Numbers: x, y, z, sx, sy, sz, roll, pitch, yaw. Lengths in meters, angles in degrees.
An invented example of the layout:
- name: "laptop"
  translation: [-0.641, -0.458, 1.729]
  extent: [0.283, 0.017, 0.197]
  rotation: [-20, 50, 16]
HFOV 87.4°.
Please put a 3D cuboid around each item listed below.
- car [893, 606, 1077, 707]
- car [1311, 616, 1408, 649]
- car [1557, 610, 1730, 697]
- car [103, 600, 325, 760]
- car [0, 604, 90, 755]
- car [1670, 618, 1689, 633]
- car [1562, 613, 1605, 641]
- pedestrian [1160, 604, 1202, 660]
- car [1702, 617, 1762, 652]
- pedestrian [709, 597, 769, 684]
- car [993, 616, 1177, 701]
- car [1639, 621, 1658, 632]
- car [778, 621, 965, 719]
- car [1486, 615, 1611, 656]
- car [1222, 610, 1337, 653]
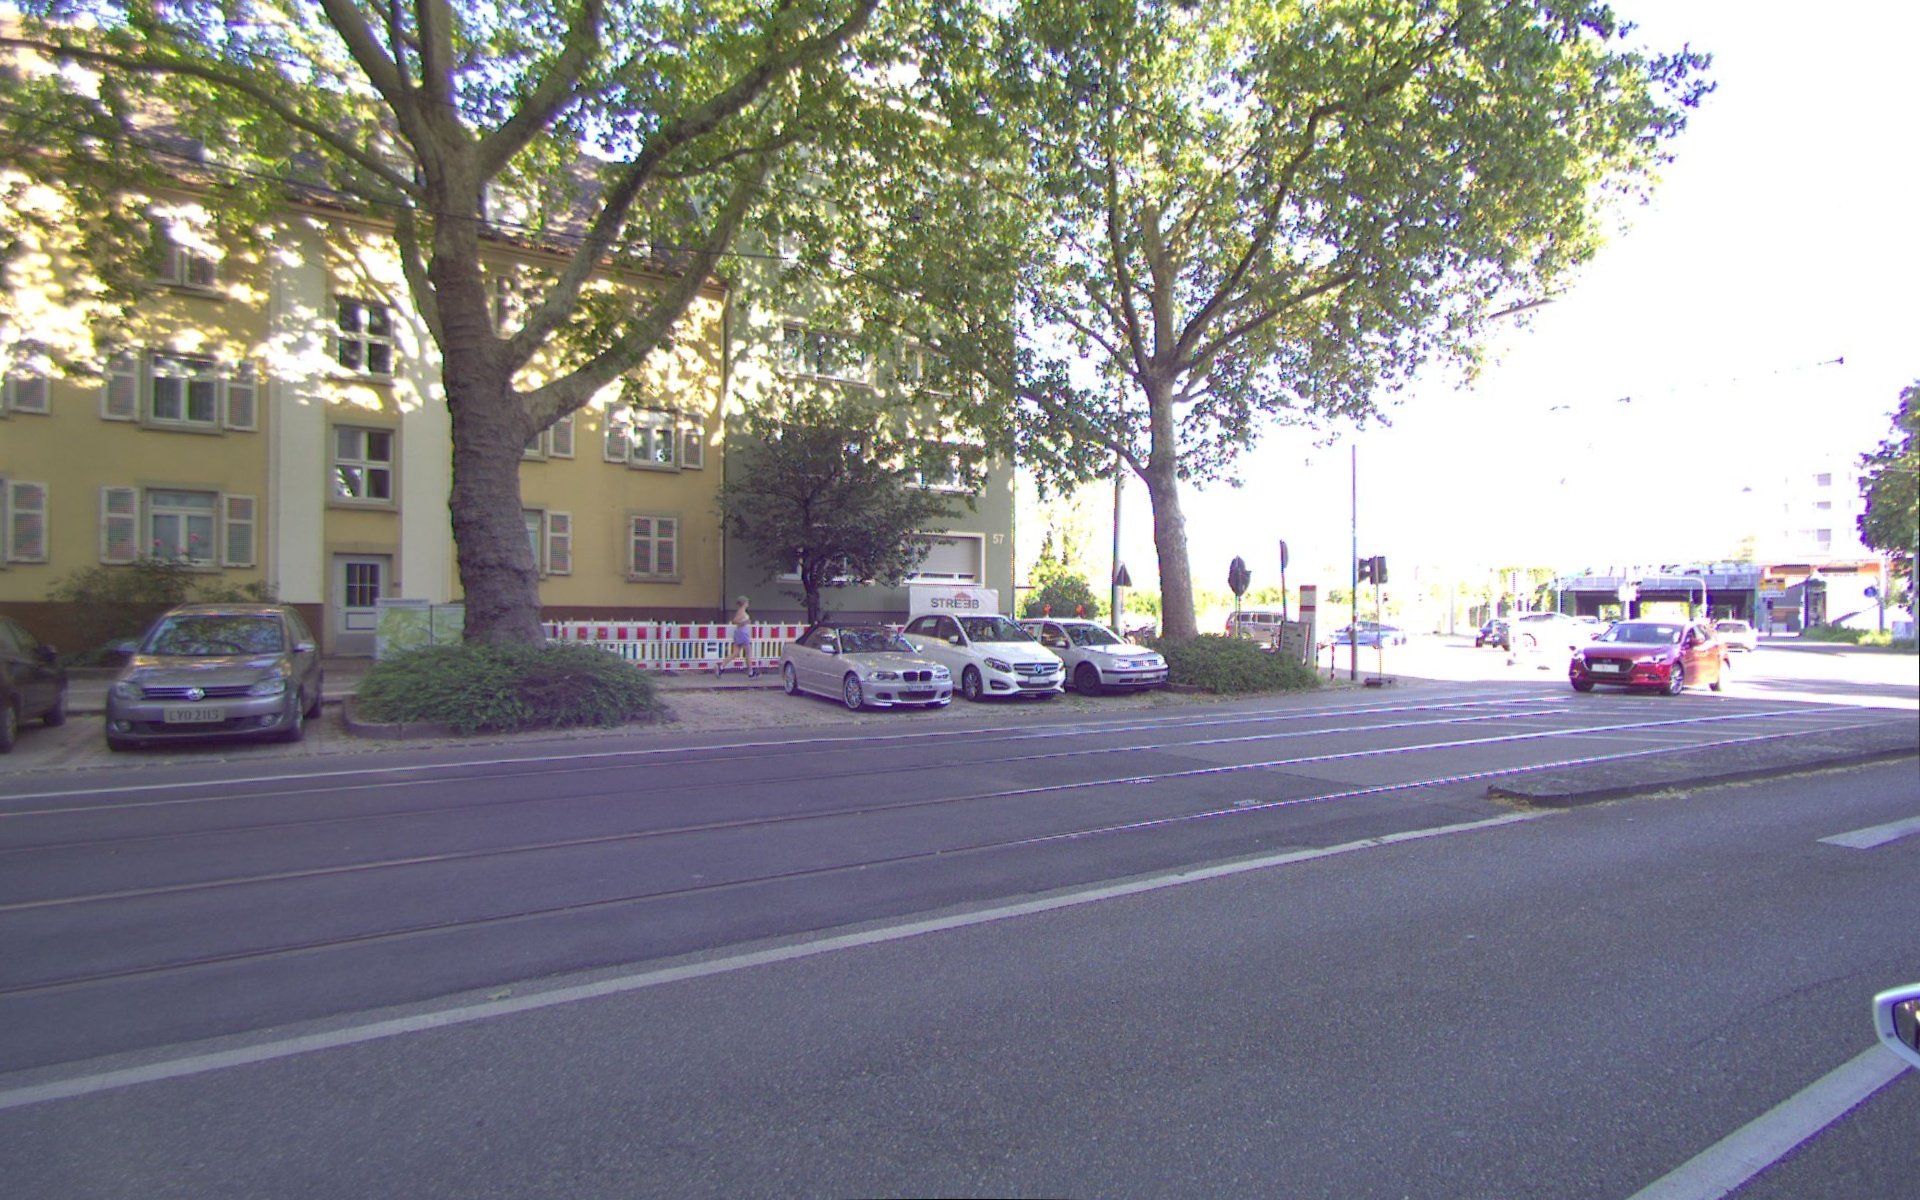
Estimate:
- name: "car"
  translation: [0.358, 0.979, 19.164]
  extent: [1.651, 1.669, 3.949]
  rotation: [1, 0, -31]
- name: "car"
  translation: [19.676, 1.595, 49.582]
  extent: [4.176, 1.575, 1.711]
  rotation: [0, -1, 7]
- name: "car"
  translation: [14.158, 1.027, 20.707]
  extent: [4.458, 1.586, 1.998]
  rotation: [1, -1, -42]
- name: "car"
  translation: [-8.991, 0.829, 12.426]
  extent: [1.652, 1.602, 3.953]
  rotation: [1, 0, -29]
- name: "car"
  translation: [-11.457, 0.829, 11.395]
  extent: [1.652, 1.518, 3.778]
  rotation: [1, 0, -29]
- name: "car"
  translation: [83.518, 2.970, 116.681]
  extent: [1.731, 1.706, 3.729]
  rotation: [2, 0, 36]
- name: "car"
  translation: [38.051, 1.647, 61.279]
  extent: [1.860, 1.606, 3.823]
  rotation: [2, 0, 37]
- name: "pedestrian"
  translation: [6.829, 0.985, 31.092]
  extent: [0.919, 1.669, 0.841]
  rotation: [2, 0, -30]
- name: "car"
  translation: [37.971, 1.676, 49.489]
  extent: [1.964, 1.572, 4.185]
  rotation: [2, 0, 33]
- name: "pedestrian"
  translation: [-4.442, 0.803, 20.205]
  extent: [0.945, 1.683, 0.767]
  rotation: [2, 0, -33]
- name: "car"
  translation: [2.448, 1.106, 20.539]
  extent: [1.651, 1.473, 3.949]
  rotation: [1, 0, -31]
- name: "car"
  translation: [81.355, 3.122, 118.725]
  extent: [1.555, 1.277, 3.421]
  rotation: [0, -1, 30]
- name: "car"
  translation: [-1.642, 1.105, 17.319]
  extent: [1.651, 1.370, 3.949]
  rotation: [1, 0, -31]
- name: "car"
  translation: [24.721, 1.469, 42.313]
  extent: [4.121, 1.539, 1.805]
  rotation: [2, 0, 8]
- name: "car"
  translation: [14.778, 1.417, 46.541]
  extent: [4.767, 1.907, 1.908]
  rotation: [-1, -1, 36]
